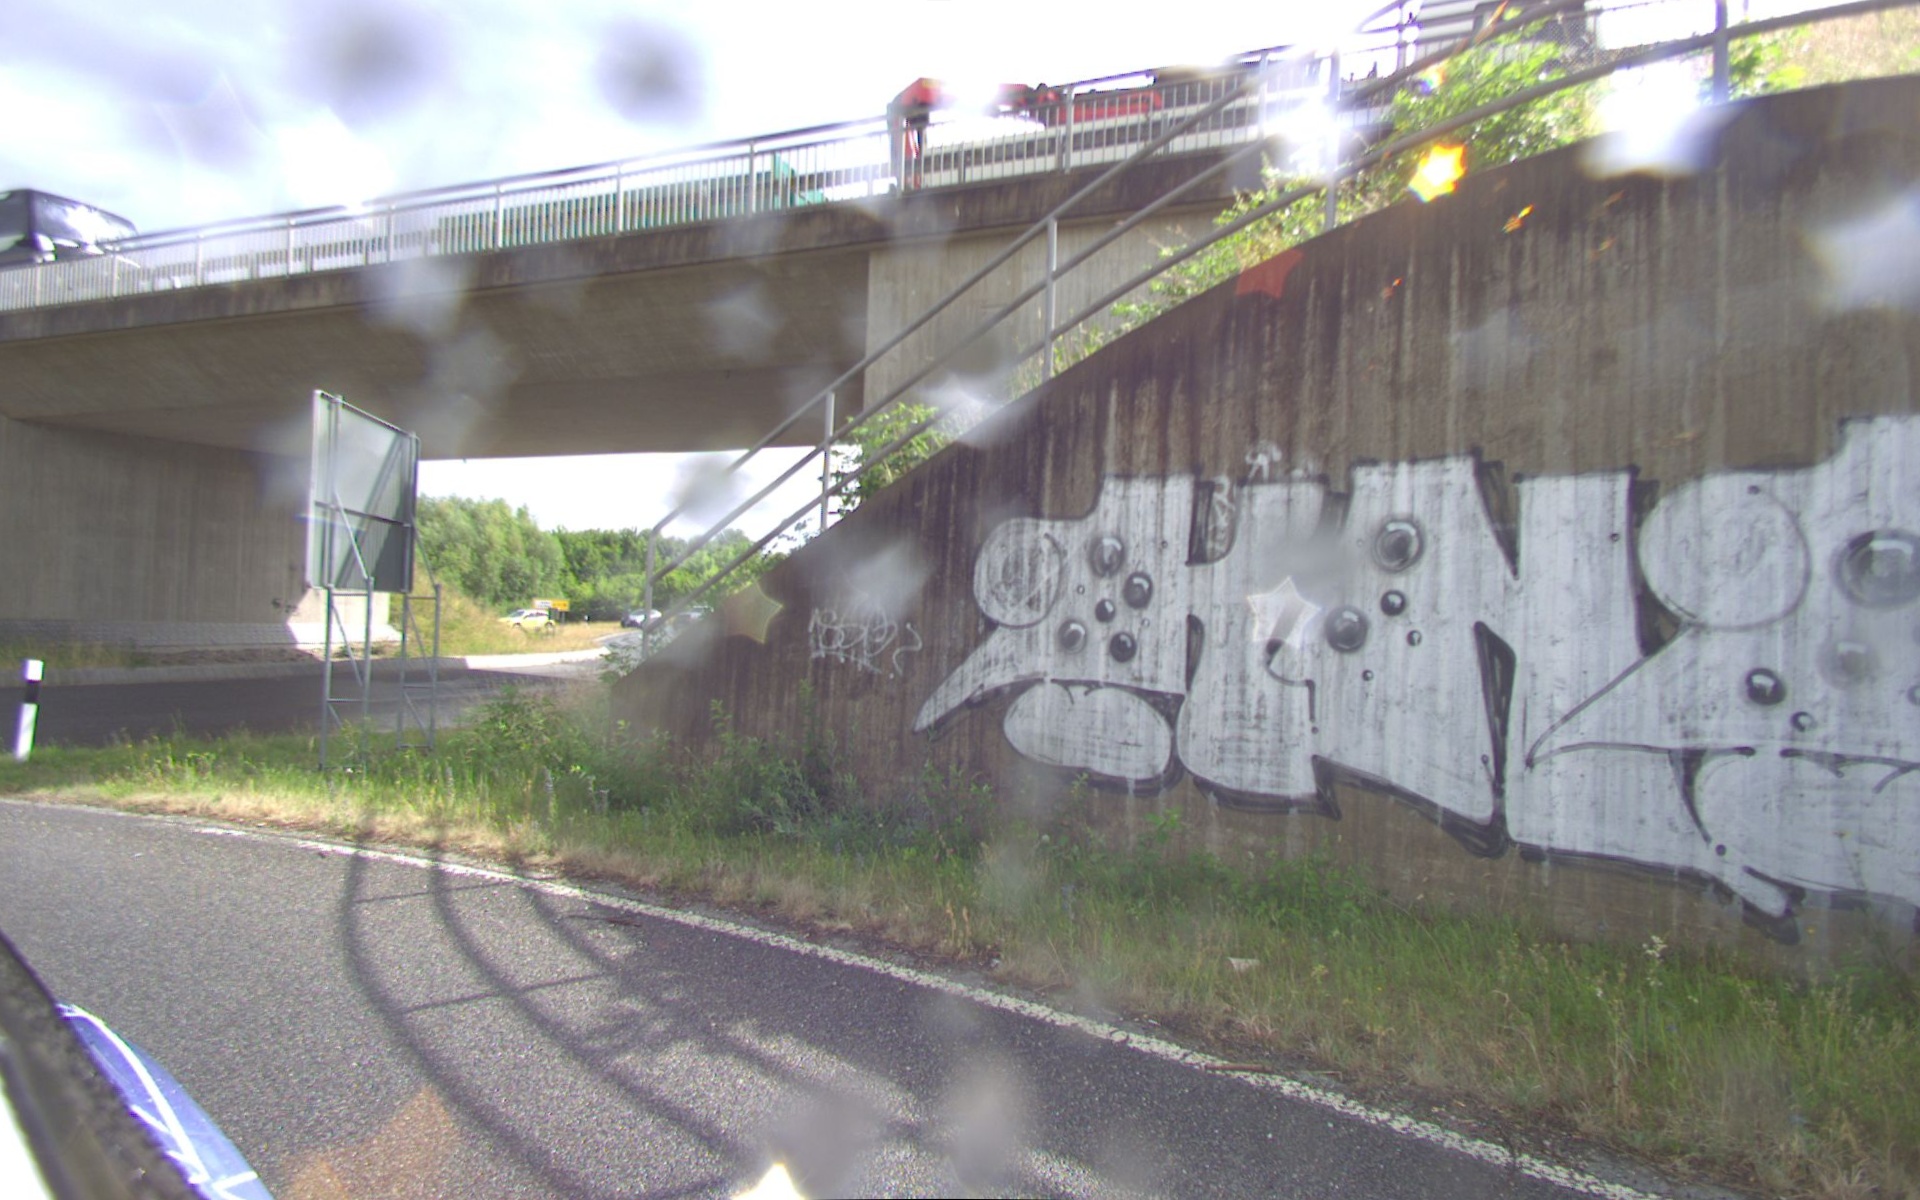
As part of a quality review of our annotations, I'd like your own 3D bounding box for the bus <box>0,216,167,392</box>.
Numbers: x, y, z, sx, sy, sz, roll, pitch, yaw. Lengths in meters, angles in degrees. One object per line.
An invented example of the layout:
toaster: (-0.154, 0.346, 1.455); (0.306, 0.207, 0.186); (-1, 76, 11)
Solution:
bus: (-26.133, -6.861, 24.786); (14.333, 3.103, 2.600); (2, 0, 16)
